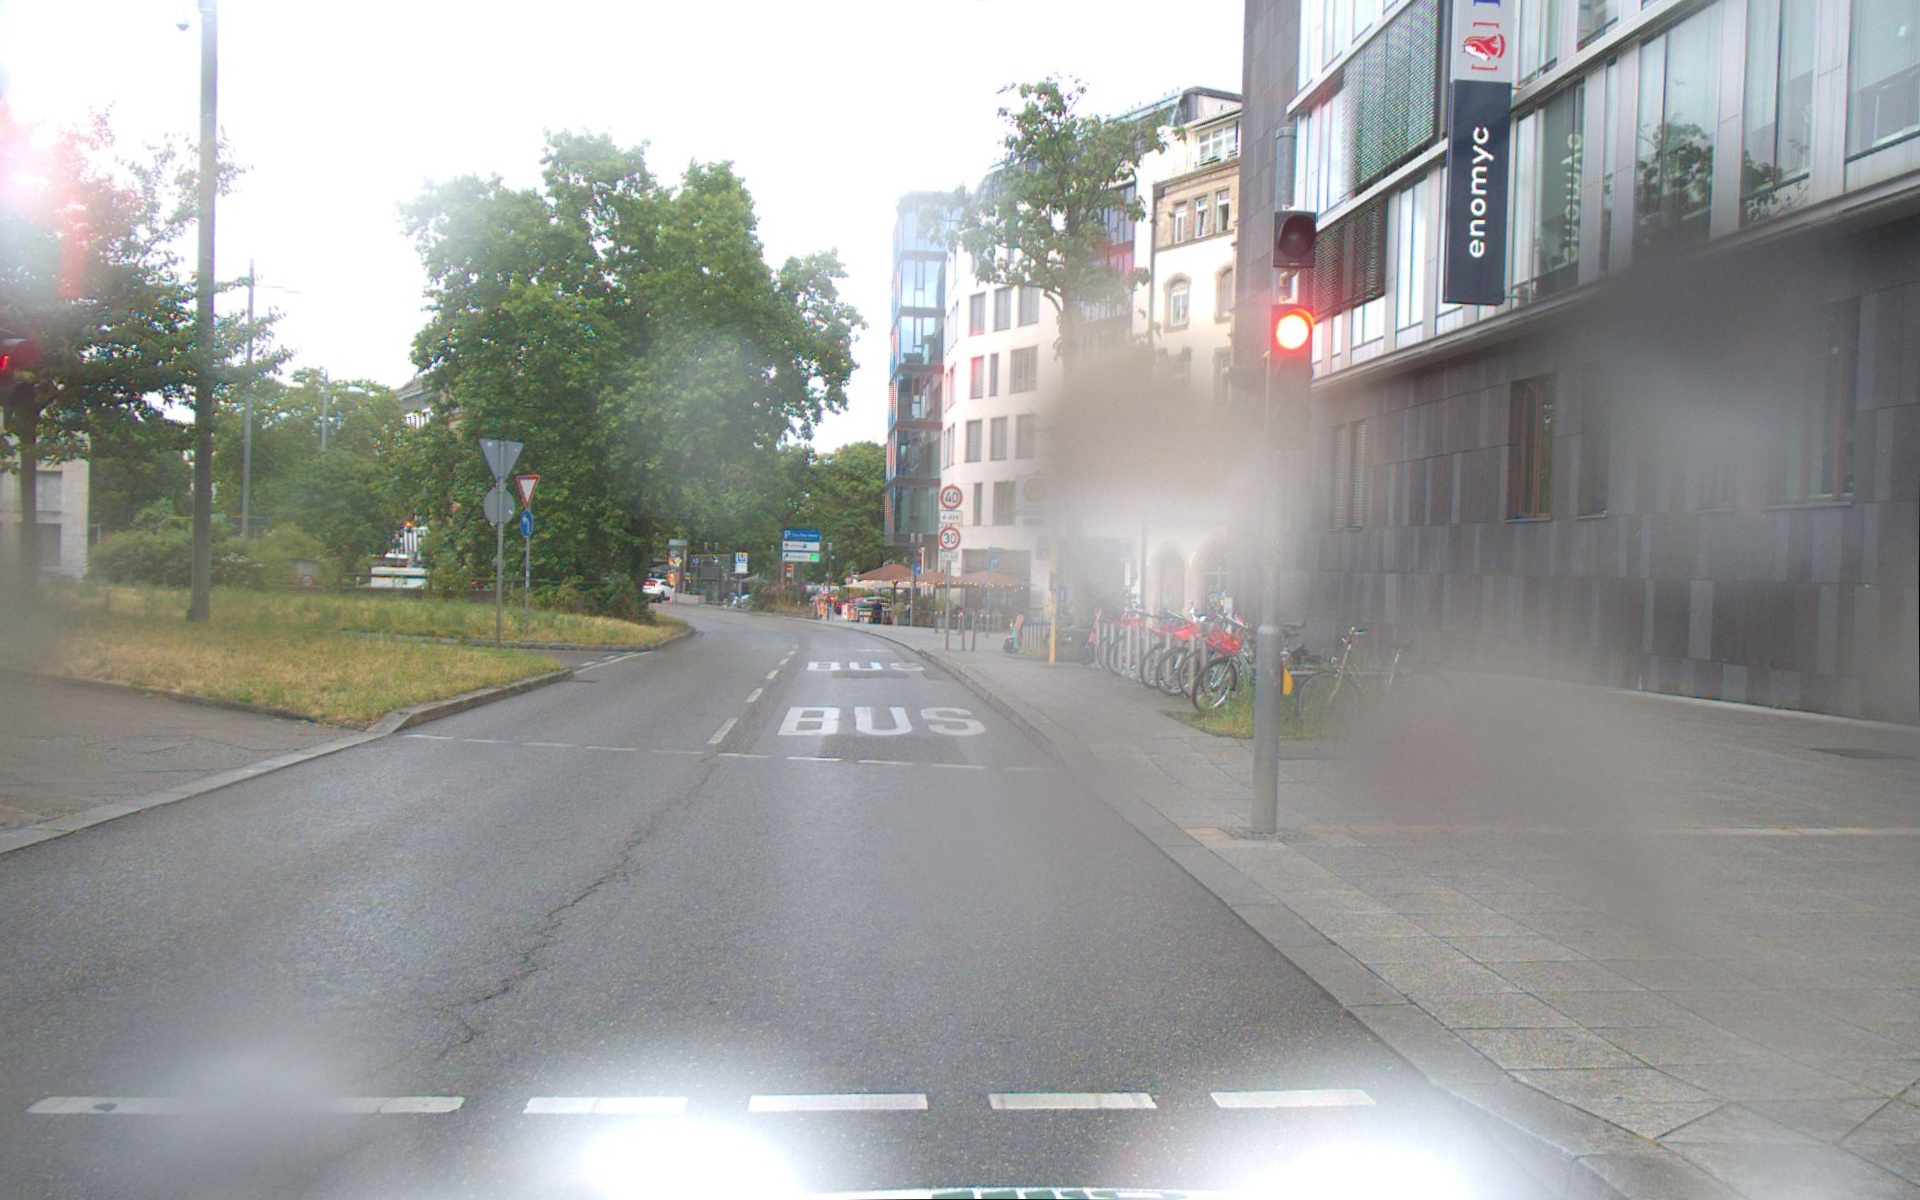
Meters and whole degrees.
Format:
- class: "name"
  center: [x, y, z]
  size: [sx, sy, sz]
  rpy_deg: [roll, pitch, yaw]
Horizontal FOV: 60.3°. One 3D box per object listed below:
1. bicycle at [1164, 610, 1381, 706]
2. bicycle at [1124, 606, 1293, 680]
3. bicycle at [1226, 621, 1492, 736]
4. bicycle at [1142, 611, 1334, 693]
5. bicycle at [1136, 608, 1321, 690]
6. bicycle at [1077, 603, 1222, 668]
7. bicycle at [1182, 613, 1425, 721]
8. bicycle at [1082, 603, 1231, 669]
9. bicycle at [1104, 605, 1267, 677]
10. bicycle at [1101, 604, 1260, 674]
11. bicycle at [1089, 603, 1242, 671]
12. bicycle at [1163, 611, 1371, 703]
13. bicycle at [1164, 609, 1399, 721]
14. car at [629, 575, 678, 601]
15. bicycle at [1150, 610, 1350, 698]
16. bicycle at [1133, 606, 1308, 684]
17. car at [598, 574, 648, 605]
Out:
- class: "bicycle"
  center: [3.771, 0.694, 20.010]
  size: [2.486, 1.106, 0.677]
  rpy_deg: [1, 0, -6]
- class: "bicycle"
  center: [3.842, 0.662, 25.627]
  size: [2.486, 1.106, 0.677]
  rpy_deg: [1, 0, -6]
- class: "bicycle"
  center: [3.965, 0.776, 16.507]
  size: [2.487, 1.075, 0.677]
  rpy_deg: [1, 0, -6]
- class: "bicycle"
  center: [3.780, 0.703, 22.542]
  size: [2.486, 1.078, 0.677]
  rpy_deg: [1, 0, -6]
- class: "bicycle"
  center: [3.795, 0.685, 23.451]
  size: [2.486, 1.106, 0.677]
  rpy_deg: [1, 0, -6]
- class: "bicycle"
  center: [3.379, 0.633, 29.570]
  size: [2.486, 1.106, 0.627]
  rpy_deg: [1, 0, -6]
- class: "bicycle"
  center: [3.721, 0.723, 17.980]
  size: [2.487, 1.106, 0.677]
  rpy_deg: [1, 0, -6]
- class: "bicycle"
  center: [3.425, 0.627, 28.849]
  size: [2.486, 1.106, 0.677]
  rpy_deg: [1, 0, -6]
- class: "bicycle"
  center: [3.594, 0.653, 26.462]
  size: [2.486, 1.106, 0.677]
  rpy_deg: [1, 0, -6]
- class: "bicycle"
  center: [3.617, 0.635, 27.215]
  size: [2.486, 1.106, 0.677]
  rpy_deg: [1, 0, -6]
- class: "bicycle"
  center: [3.482, 0.618, 28.102]
  size: [2.486, 1.106, 0.677]
  rpy_deg: [1, 0, -6]
- class: "bicycle"
  center: [3.855, 0.713, 20.866]
  size: [2.486, 1.106, 0.677]
  rpy_deg: [1, 0, -6]
- class: "bicycle"
  center: [3.633, 0.733, 18.783]
  size: [2.487, 1.106, 0.677]
  rpy_deg: [3, 0, -6]
- class: "car"
  center: [-21.671, -0.829, 117.040]
  size: [2.132, 1.730, 4.003]
  rpy_deg: [2, 0, 10]
- class: "bicycle"
  center: [3.787, 0.704, 21.676]
  size: [2.486, 1.106, 0.677]
  rpy_deg: [1, 0, -6]
- class: "bicycle"
  center: [3.868, 0.667, 24.649]
  size: [2.486, 1.106, 0.677]
  rpy_deg: [1, 0, -6]
- class: "car"
  center: [-20.153, -0.663, 98.883]
  size: [1.969, 1.676, 3.968]
  rpy_deg: [3, 0, -26]
